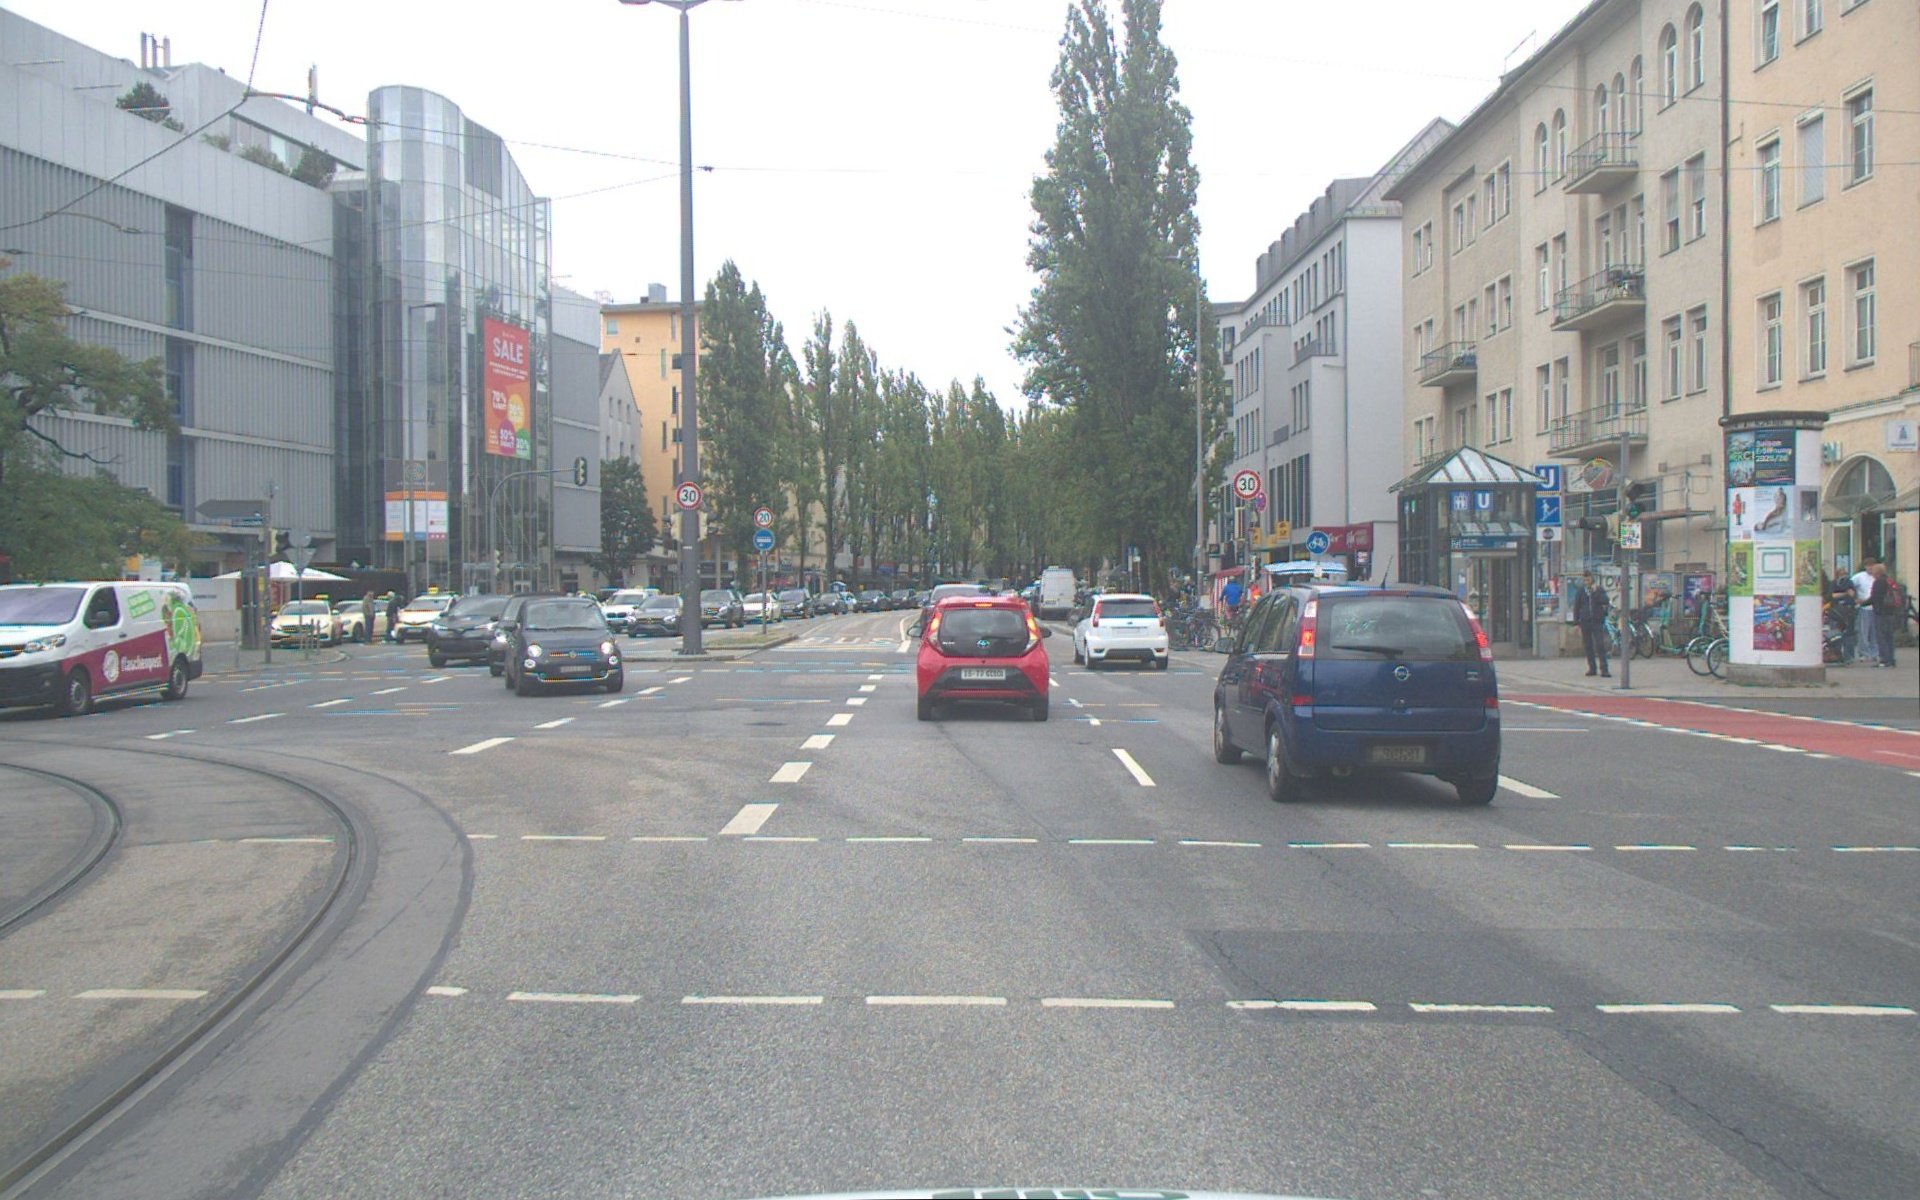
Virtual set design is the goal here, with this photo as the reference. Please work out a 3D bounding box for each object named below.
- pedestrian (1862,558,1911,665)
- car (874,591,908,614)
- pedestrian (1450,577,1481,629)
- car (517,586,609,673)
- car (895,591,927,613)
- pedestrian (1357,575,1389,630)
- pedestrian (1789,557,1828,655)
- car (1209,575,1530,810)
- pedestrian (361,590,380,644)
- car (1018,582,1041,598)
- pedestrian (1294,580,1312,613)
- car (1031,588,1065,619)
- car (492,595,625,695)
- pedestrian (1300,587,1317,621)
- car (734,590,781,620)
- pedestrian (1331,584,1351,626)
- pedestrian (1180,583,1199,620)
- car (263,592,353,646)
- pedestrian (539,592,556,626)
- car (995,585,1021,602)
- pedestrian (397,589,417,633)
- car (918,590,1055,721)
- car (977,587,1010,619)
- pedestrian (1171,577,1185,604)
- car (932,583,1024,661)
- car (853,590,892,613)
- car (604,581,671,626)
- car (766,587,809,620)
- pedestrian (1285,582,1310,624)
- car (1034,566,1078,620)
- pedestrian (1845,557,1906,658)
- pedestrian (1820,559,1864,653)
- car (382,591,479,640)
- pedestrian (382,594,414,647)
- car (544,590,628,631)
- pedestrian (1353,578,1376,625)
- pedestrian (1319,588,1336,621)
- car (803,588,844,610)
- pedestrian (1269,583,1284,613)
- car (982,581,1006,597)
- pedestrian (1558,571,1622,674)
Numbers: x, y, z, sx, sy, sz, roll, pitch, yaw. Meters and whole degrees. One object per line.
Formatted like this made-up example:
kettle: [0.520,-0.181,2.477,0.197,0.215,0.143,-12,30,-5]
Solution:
pedestrian: [15.811,0.186,28.242,0.635,1.781,0.637,0,3,22]
car: [-5.362,0.191,129.373,1.951,1.721,4.924,-1,0,6]
pedestrian: [16.594,0.093,54.322,0.735,1.679,0.758,-2,0,-2]
car: [-7.494,0.553,31.404,1.475,1.561,2.831,0,-1,-9]
car: [-4.055,0.165,136.862,1.951,1.721,4.924,-1,0,6]
pedestrian: [13.457,0.086,53.921,0.796,1.757,0.758,-2,0,-1]
pedestrian: [15.090,0.094,29.432,0.554,1.699,0.562,0,3,22]
car: [3.132,0.638,13.337,1.668,1.617,3.556,1,0,0]
pedestrian: [-19.494,0.552,54.716,0.436,1.790,0.356,-1,0,10]
car: [7.959,-1.181,189.021,1.951,1.721,4.418,-1,1,12]
pedestrian: [16.407,-0.159,79.056,0.698,1.585,0.676,-1,0,-1]
car: [4.941,0.196,93.397,1.668,1.691,3.556,0,0,-1]
car: [-6.499,0.672,26.532,1.525,1.471,3.514,-1,0,-23]
pedestrian: [15.082,0.176,71.507,0.586,1.427,0.580,-1,0,-1]
car: [-9.965,0.231,81.615,1.729,1.446,4.639,-1,0,0]
pedestrian: [13.953,0.173,60.551,0.568,1.531,0.615,-1,0,31]
pedestrian: [10.934,0.084,78.687,0.774,1.758,0.763,-1,0,-1]
car: [-20.597,0.558,52.434,1.959,1.562,4.400,-2,1,-13]
pedestrian: [-21.423,0.464,85.906,0.637,1.721,0.712,-1,0,12]
car: [5.157,-0.734,176.766,1.951,1.721,4.418,-1,1,12]
pedestrian: [-23.579,0.469,70.553,0.545,1.849,0.628,-1,0,10]
car: [0.318,0.638,20.769,1.572,1.487,3.130,1,0,0]
car: [2.073,0.185,100.395,1.952,1.870,4.001,-1,0,2]
pedestrian: [13.046,-0.571,98.954,0.698,1.585,0.676,-1,0,-1]
car: [0.362,0.461,37.431,1.953,1.646,3.999,-1,0,-1]
car: [-6.250,0.085,118.637,1.951,1.561,4.591,-1,0,7]
car: [-16.185,0.152,83.356,1.952,2.048,5.526,-1,1,4]
car: [-9.639,0.192,92.762,1.896,1.769,4.588,-1,0,0]
pedestrian: [12.578,0.127,61.573,0.792,1.549,0.800,-1,0,20]
car: [5.032,-0.374,87.273,2.063,2.766,4.804,-1,0,0]
pedestrian: [16.414,0.124,29.661,0.637,1.734,0.726,-3,4,-30]
pedestrian: [15.765,0.108,29.565,0.548,1.637,0.568,-1,3,12]
car: [-17.968,0.497,56.348,1.862,1.570,4.393,-1,1,0]
pedestrian: [-18.543,0.657,54.598,0.754,1.720,0.752,-1,0,4]
car: [-16.039,0.429,71.069,1.951,1.708,4.187,-1,0,12]
pedestrian: [14.686,0.045,60.030,0.590,1.699,0.683,-1,0,35]
pedestrian: [15.881,0.189,71.492,0.563,1.427,0.580,-1,0,-1]
car: [-8.657,-0.055,105.240,1.806,1.406,4.603,0,0,5]
pedestrian: [14.868,-0.086,77.668,0.586,1.427,0.580,-1,0,-1]
car: [3.831,-1.253,186.555,1.951,1.721,4.418,-1,1,12]
pedestrian: [10.775,0.377,28.270,0.820,1.720,0.816,-1,0,37]
